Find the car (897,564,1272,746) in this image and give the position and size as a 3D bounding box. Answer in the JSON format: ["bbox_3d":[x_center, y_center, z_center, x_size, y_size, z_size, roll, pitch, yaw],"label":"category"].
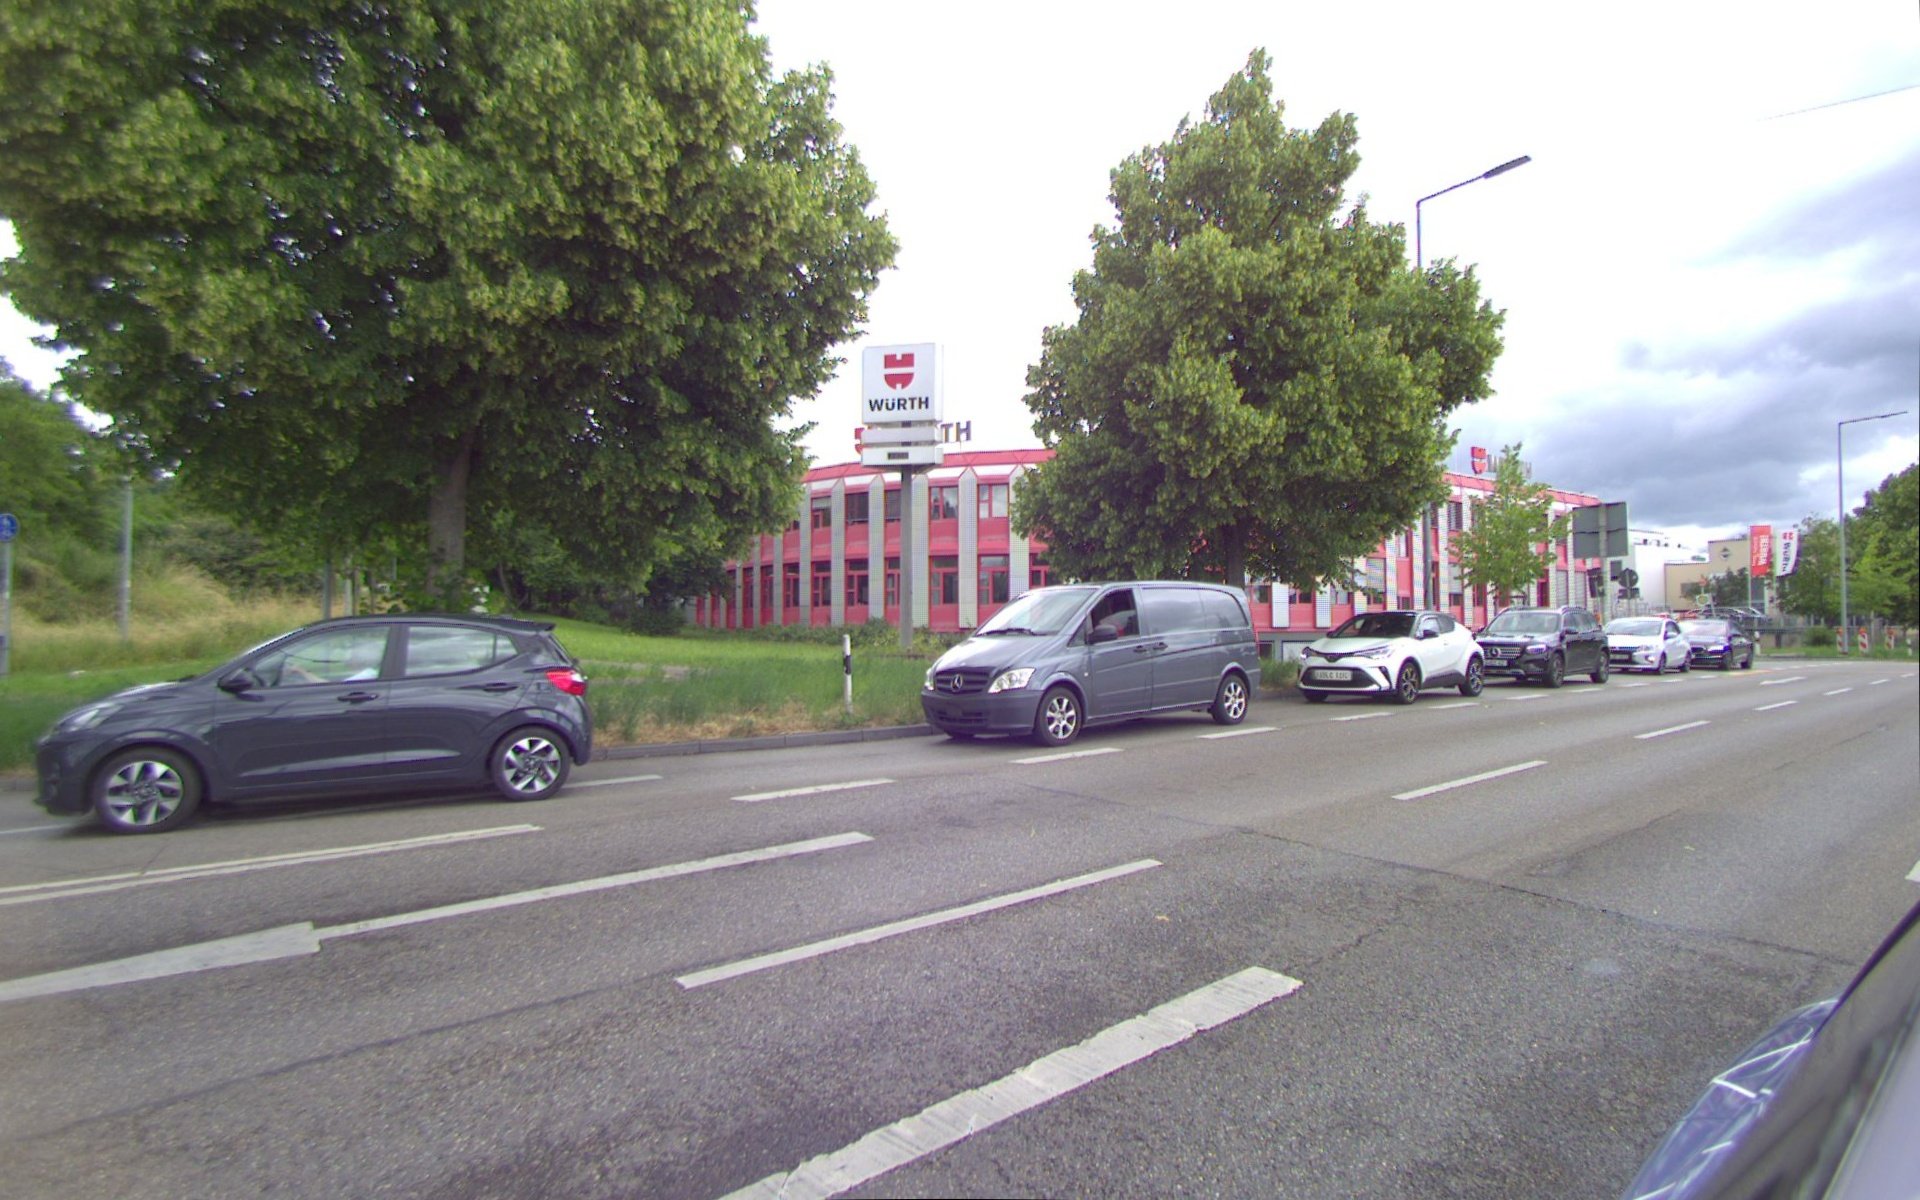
[{"bbox_3d":[1.672,0.614,12.581,4.636,1.858,1.919,0,-3,-39],"label":"car"}]

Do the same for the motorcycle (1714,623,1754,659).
[{"bbox_3d":[25.154,1.321,32.864,1.911,1.162,0.748,2,-3,-45],"label":"motorcycle"}]

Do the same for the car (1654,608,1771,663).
[{"bbox_3d":[22.206,1.053,29.810,4.446,1.464,1.784,3,-1,-40],"label":"car"}]

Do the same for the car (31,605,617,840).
[{"bbox_3d":[-4.690,0.814,7.965,3.542,1.449,1.626,0,-3,-29],"label":"car"}]

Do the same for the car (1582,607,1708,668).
[{"bbox_3d":[18.178,0.991,26.811,3.766,1.461,1.784,3,-1,-40],"label":"car"}]

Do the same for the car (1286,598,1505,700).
[{"bbox_3d":[7.579,0.792,17.441,4.230,1.555,1.783,0,-3,-41],"label":"car"}]

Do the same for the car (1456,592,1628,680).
[{"bbox_3d":[12.469,0.753,21.562,4.346,1.671,1.784,3,-1,-40],"label":"car"}]

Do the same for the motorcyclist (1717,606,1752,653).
[{"bbox_3d":[25.147,0.960,32.876,0.918,1.510,0.748,2,-3,-45],"label":"motorcyclist"}]

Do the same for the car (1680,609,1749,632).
[{"bbox_3d":[61.800,1.681,82.954,1.752,1.776,4.247,0,0,-39],"label":"car"}]
